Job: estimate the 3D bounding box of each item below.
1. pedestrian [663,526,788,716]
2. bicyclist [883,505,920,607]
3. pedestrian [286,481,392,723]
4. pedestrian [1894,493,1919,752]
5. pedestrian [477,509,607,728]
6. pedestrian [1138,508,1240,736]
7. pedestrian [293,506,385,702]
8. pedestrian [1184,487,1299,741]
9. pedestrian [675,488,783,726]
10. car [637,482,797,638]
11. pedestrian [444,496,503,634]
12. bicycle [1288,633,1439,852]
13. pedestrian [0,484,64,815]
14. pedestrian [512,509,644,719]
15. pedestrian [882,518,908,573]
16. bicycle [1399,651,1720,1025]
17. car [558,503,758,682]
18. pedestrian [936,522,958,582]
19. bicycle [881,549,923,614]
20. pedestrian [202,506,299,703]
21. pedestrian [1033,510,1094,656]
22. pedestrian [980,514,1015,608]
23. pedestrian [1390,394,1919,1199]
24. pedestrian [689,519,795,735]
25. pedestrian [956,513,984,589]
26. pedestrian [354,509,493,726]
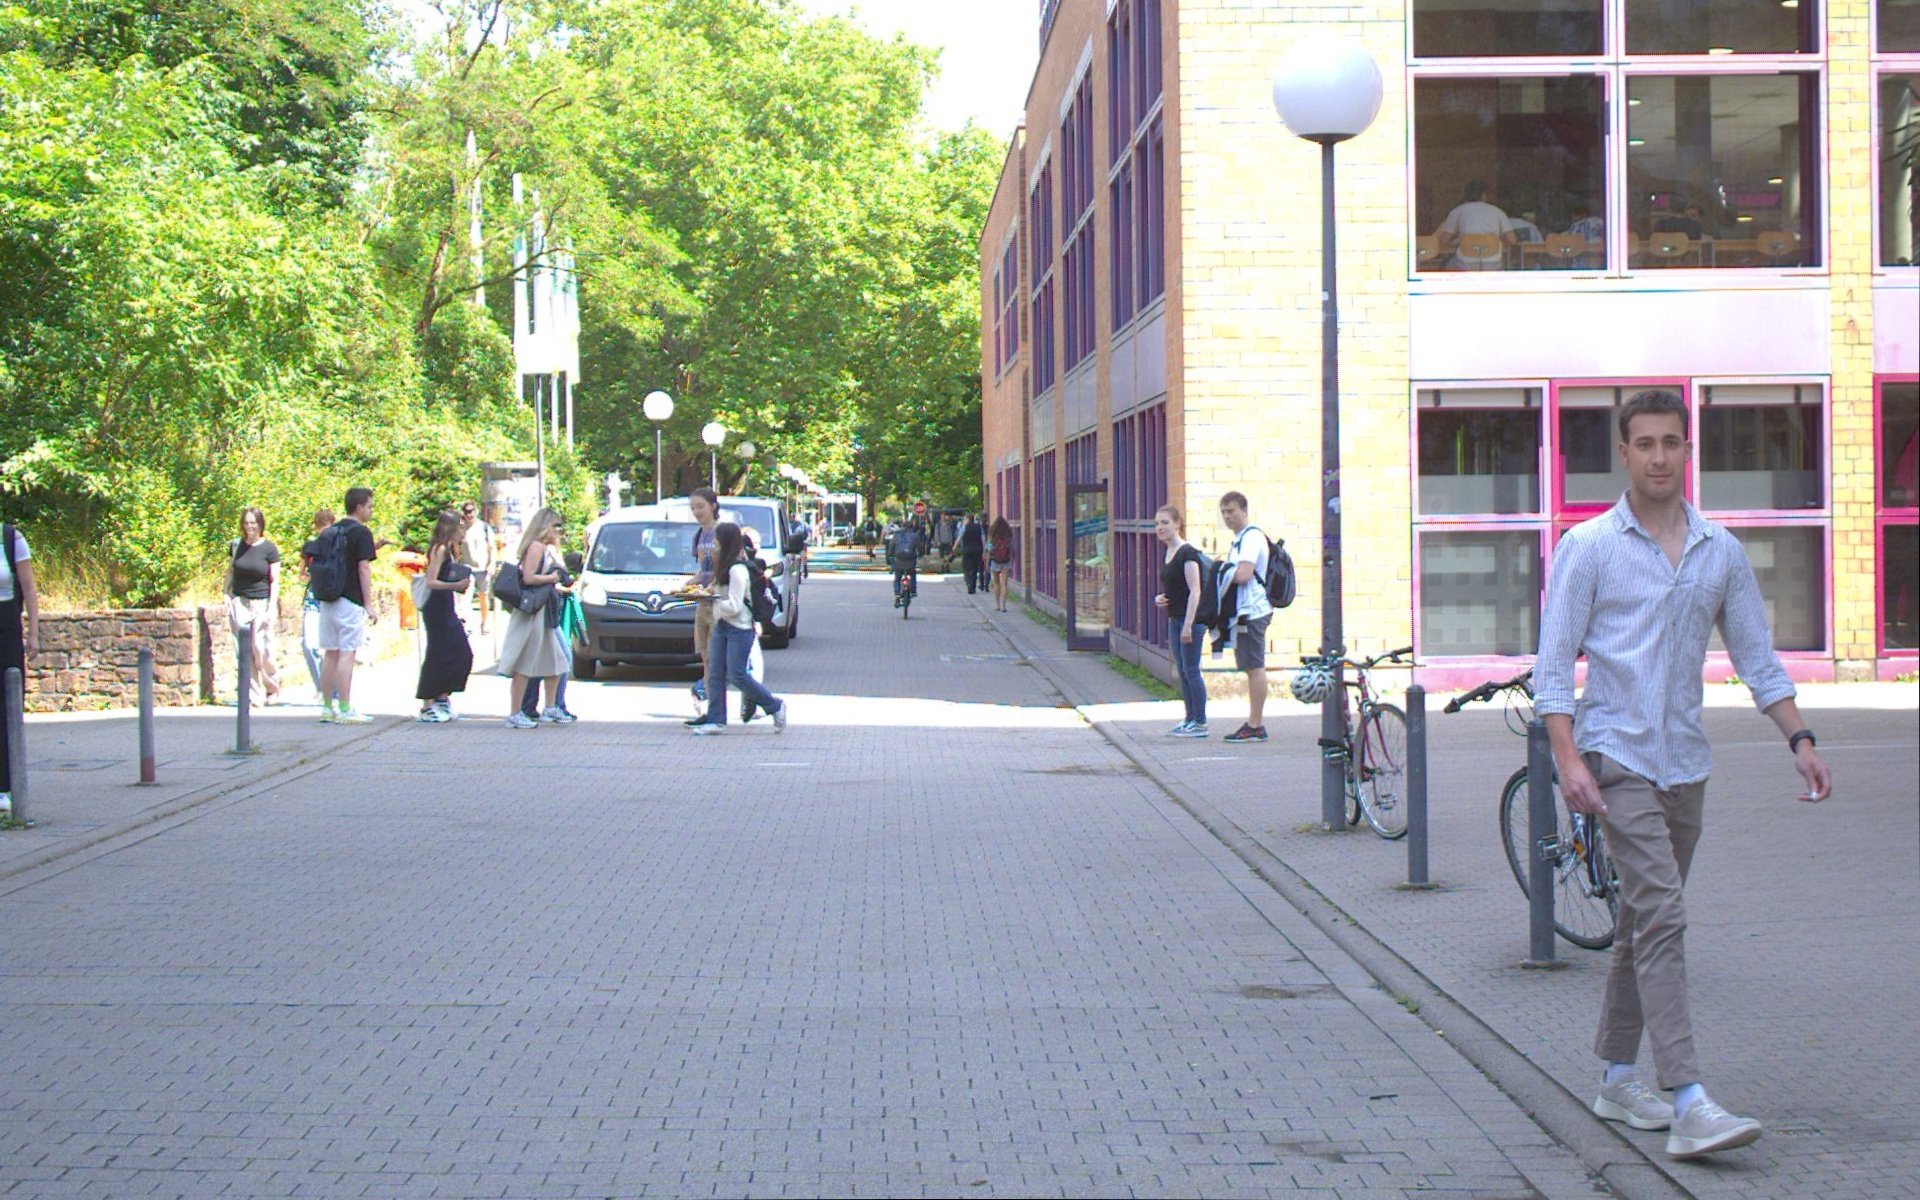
[{"bbox_3d":[-1.930,0.167,28.405,0.886,1.537,0.743,-1,1,6],"label":"pedestrian"},{"bbox_3d":[-0.996,-0.751,58.306,0.587,1.710,0.665,0,1,-4],"label":"bicyclist"},{"bbox_3d":[-4.786,0.012,26.538,0.682,1.838,0.783,0,0,-1],"label":"pedestrian"},{"bbox_3d":[6.494,0.145,22.110,0.852,1.645,0.588,0,0,7],"label":"pedestrian"},{"bbox_3d":[-3.226,0.136,26.556,0.886,1.667,0.559,0,0,7],"label":"pedestrian"},{"bbox_3d":[1.709,0.162,25.599,0.697,1.667,0.588,-1,0,6],"label":"pedestrian"},{"bbox_3d":[-5.203,0.030,28.830,0.682,1.615,0.914,0,0,-6],"label":"pedestrian"},{"bbox_3d":[2.035,0.099,24.778,0.767,1.788,0.588,-1,0,7],"label":"pedestrian"},{"bbox_3d":[-1.809,0.052,26.985,0.825,1.838,0.685,0,0,-3],"label":"pedestrian"},{"bbox_3d":[-3.190,-0.558,46.032,1.883,1.967,5.215,0,1,-1],"label":"car"},{"bbox_3d":[-6.503,-0.466,45.985,0.682,1.838,0.783,0,0,-1],"label":"pedestrian"},{"bbox_3d":[1.982,0.679,17.043,0.450,0.958,1.740,-3,1,-2],"label":"bicycle"},{"bbox_3d":[-5.225,0.251,18.372,0.682,1.722,1.002,0,1,-5],"label":"pedestrian"},{"bbox_3d":[-3.081,0.114,27.796,0.929,1.667,0.588,-1,0,6],"label":"pedestrian"},{"bbox_3d":[-1.986,-1.664,105.262,0.725,1.667,0.748,-1,0,0],"label":"pedestrian"},{"bbox_3d":[1.951,0.742,11.411,0.708,1.089,1.749,0,1,-2],"label":"bicycle"},{"bbox_3d":[-3.119,-0.125,36.282,1.790,1.755,4.482,-1,1,-1],"label":"car"},{"bbox_3d":[-0.430,-1.551,110.699,0.653,1.916,0.817,-1,0,0],"label":"pedestrian"},{"bbox_3d":[-0.988,-0.323,58.243,0.587,1.080,1.908,0,1,-4],"label":"bicycle"},{"bbox_3d":[-5.917,0.036,28.700,0.682,1.615,0.979,0,0,-6],"label":"pedestrian"},{"bbox_3d":[1.252,-0.206,41.666,0.682,1.741,0.783,0,0,-1],"label":"pedestrian"},{"bbox_3d":[0.678,-0.698,62.141,0.586,1.667,0.699,-1,0,0],"label":"pedestrian"},{"bbox_3d":[1.696,0.449,8.365,0.783,1.839,1.118,0,1,-25],"label":"pedestrian"},{"bbox_3d":[-1.658,0.202,26.147,0.780,1.615,0.685,0,0,-3],"label":"pedestrian"},{"bbox_3d":[0.226,-1.079,75.984,0.586,1.667,0.817,-1,0,0],"label":"pedestrian"},{"bbox_3d":[-4.251,0.128,27.269,0.886,1.666,0.643,-2,2,7],"label":"pedestrian"}]
